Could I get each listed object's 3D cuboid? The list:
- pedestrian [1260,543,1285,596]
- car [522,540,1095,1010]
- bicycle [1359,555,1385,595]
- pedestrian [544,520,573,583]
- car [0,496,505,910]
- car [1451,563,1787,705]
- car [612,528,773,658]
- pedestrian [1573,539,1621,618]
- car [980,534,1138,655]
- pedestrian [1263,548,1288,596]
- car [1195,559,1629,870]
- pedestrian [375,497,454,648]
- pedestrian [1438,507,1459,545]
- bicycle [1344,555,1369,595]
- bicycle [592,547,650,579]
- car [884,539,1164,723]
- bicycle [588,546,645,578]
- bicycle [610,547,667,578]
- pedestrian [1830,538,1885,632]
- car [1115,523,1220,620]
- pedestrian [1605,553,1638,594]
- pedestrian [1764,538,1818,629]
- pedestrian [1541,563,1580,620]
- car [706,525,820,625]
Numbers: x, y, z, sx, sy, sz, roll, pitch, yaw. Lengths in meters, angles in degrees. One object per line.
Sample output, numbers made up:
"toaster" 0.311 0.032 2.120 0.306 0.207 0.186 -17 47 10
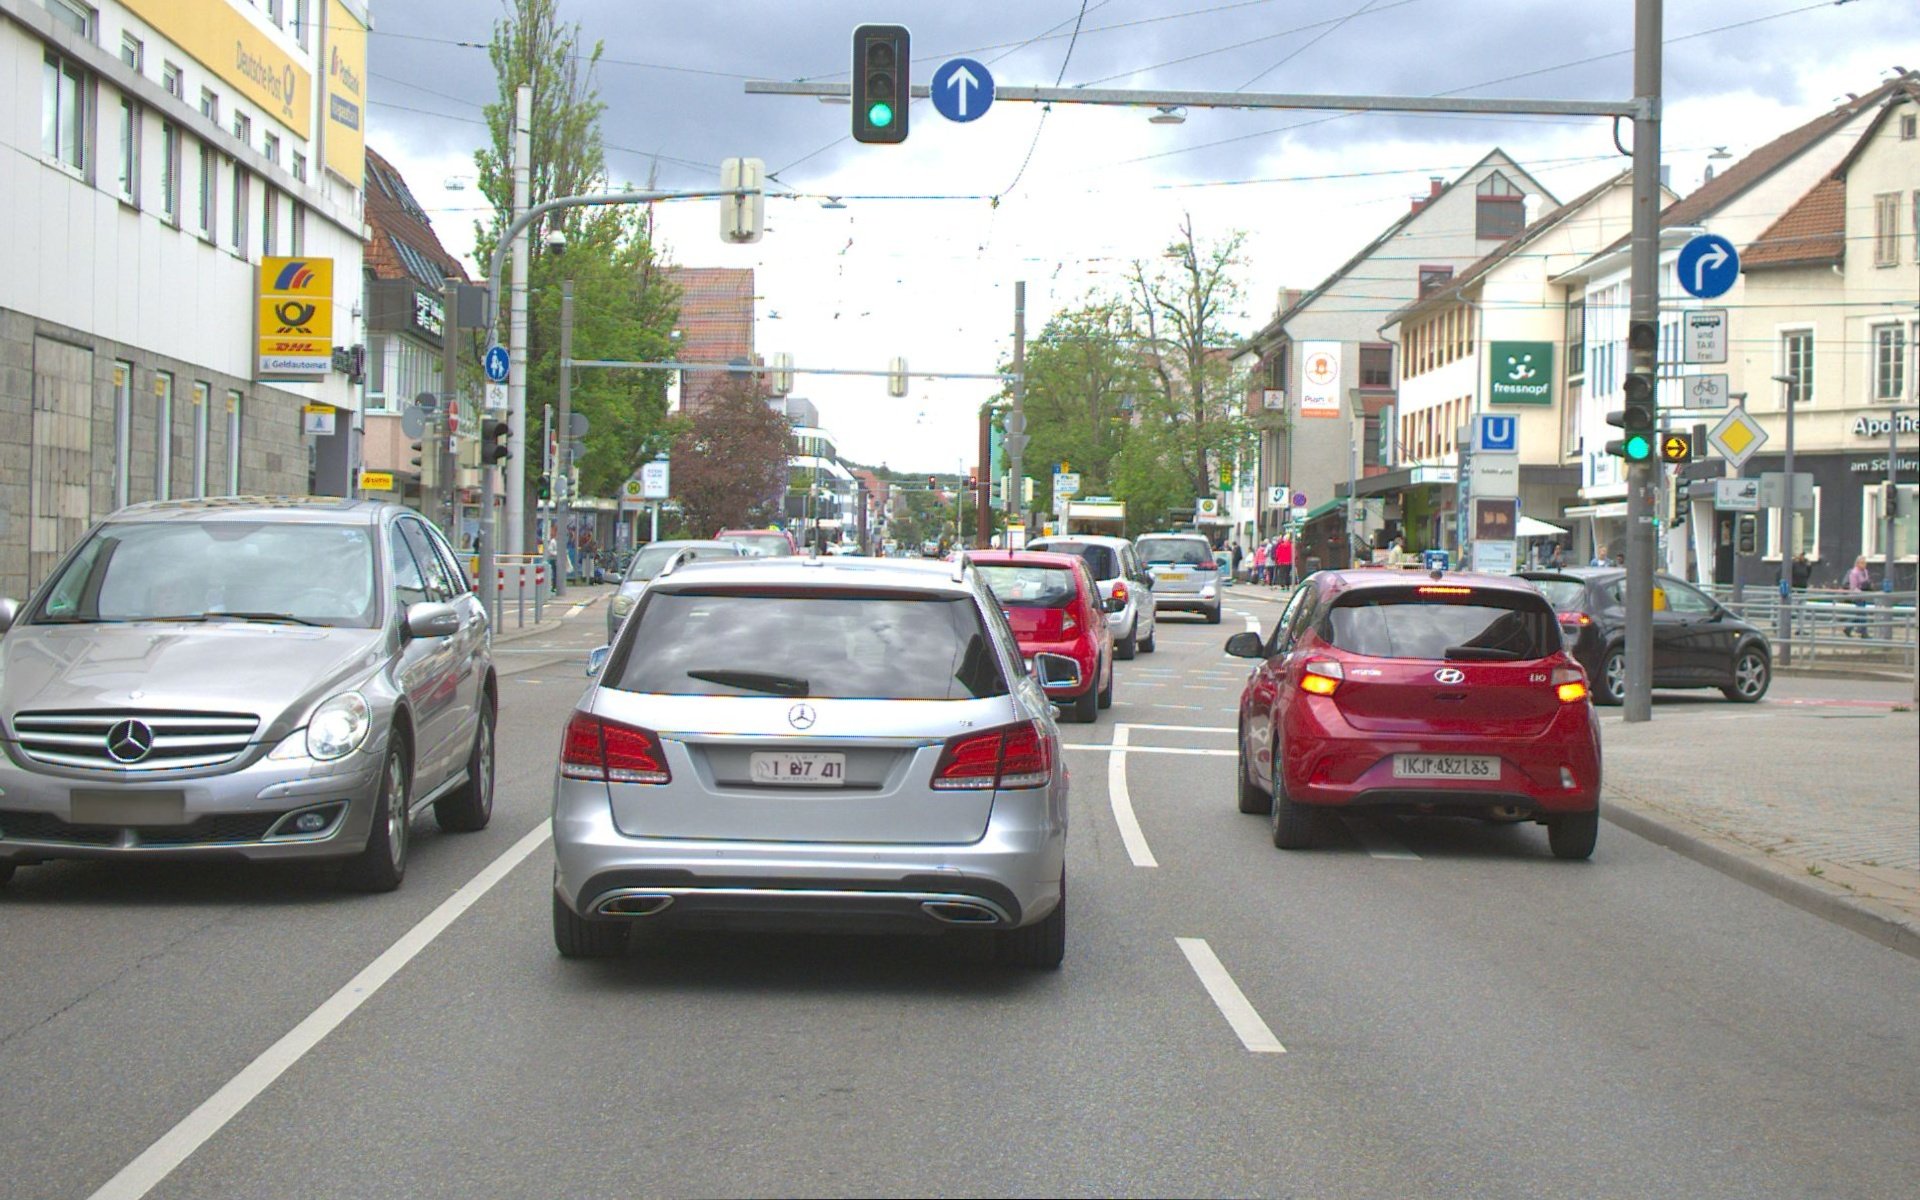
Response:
"pedestrian" 9.983 -0.988 109.816 0.577 1.661 0.651 2 1 -12
"car" -0.601 0.537 13.287 1.845 1.503 4.172 1 1 -3
"bicycle" 11.713 -0.719 97.698 0.448 1.103 2.149 1 1 0
"pedestrian" -10.284 -1.248 88.028 0.633 1.600 0.705 1 1 -14
"car" -3.301 0.359 15.963 1.776 1.626 4.768 0 1 -1
"car" 7.137 0.323 37.007 1.738 1.406 3.990 2 2 41
"car" -3.159 -0.118 41.191 1.657 1.461 3.921 0 1 -1
"pedestrian" 13.902 -0.471 75.007 0.841 1.712 0.727 1 1 -4
"car" 1.264 -0.108 45.257 1.734 1.503 4.001 1 1 -3
"pedestrian" 9.778 -0.879 106.575 0.577 1.464 0.651 2 1 -9
"car" 2.423 0.557 19.369 1.698 1.447 4.001 3 1 -2
"pedestrian" -6.315 -0.324 39.831 0.648 1.712 0.782 3 1 6
"pedestrian" 16.099 -2.430 113.330 0.533 1.214 0.580 2 1 -3
"bicycle" 11.263 -0.719 97.694 0.448 1.087 2.149 1 1 0
"bicycle" -11.715 -1.295 118.872 1.937 1.025 0.530 2 1 -10
"car" 0.654 0.232 31.166 1.735 1.503 3.998 2 1 13
"bicycle" -12.003 -1.324 120.122 1.937 1.025 0.530 2 1 -10
"bicycle" -11.482 -1.344 122.859 1.937 1.025 0.530 2 1 -10
"pedestrian" 16.825 -0.276 64.477 0.647 1.712 0.789 2 2 -9
"car" 3.893 -0.564 65.024 1.734 1.753 4.000 1 1 0
"pedestrian" 18.953 -0.756 98.490 0.736 1.160 0.643 2 1 -3
"pedestrian" 15.708 -0.314 64.984 0.702 1.712 0.650 0 1 -33
"pedestrian" 17.048 -0.249 97.592 0.640 1.586 0.898 2 1 -21
"car" -3.437 -0.462 60.560 1.799 1.689 3.898 0 1 -1
